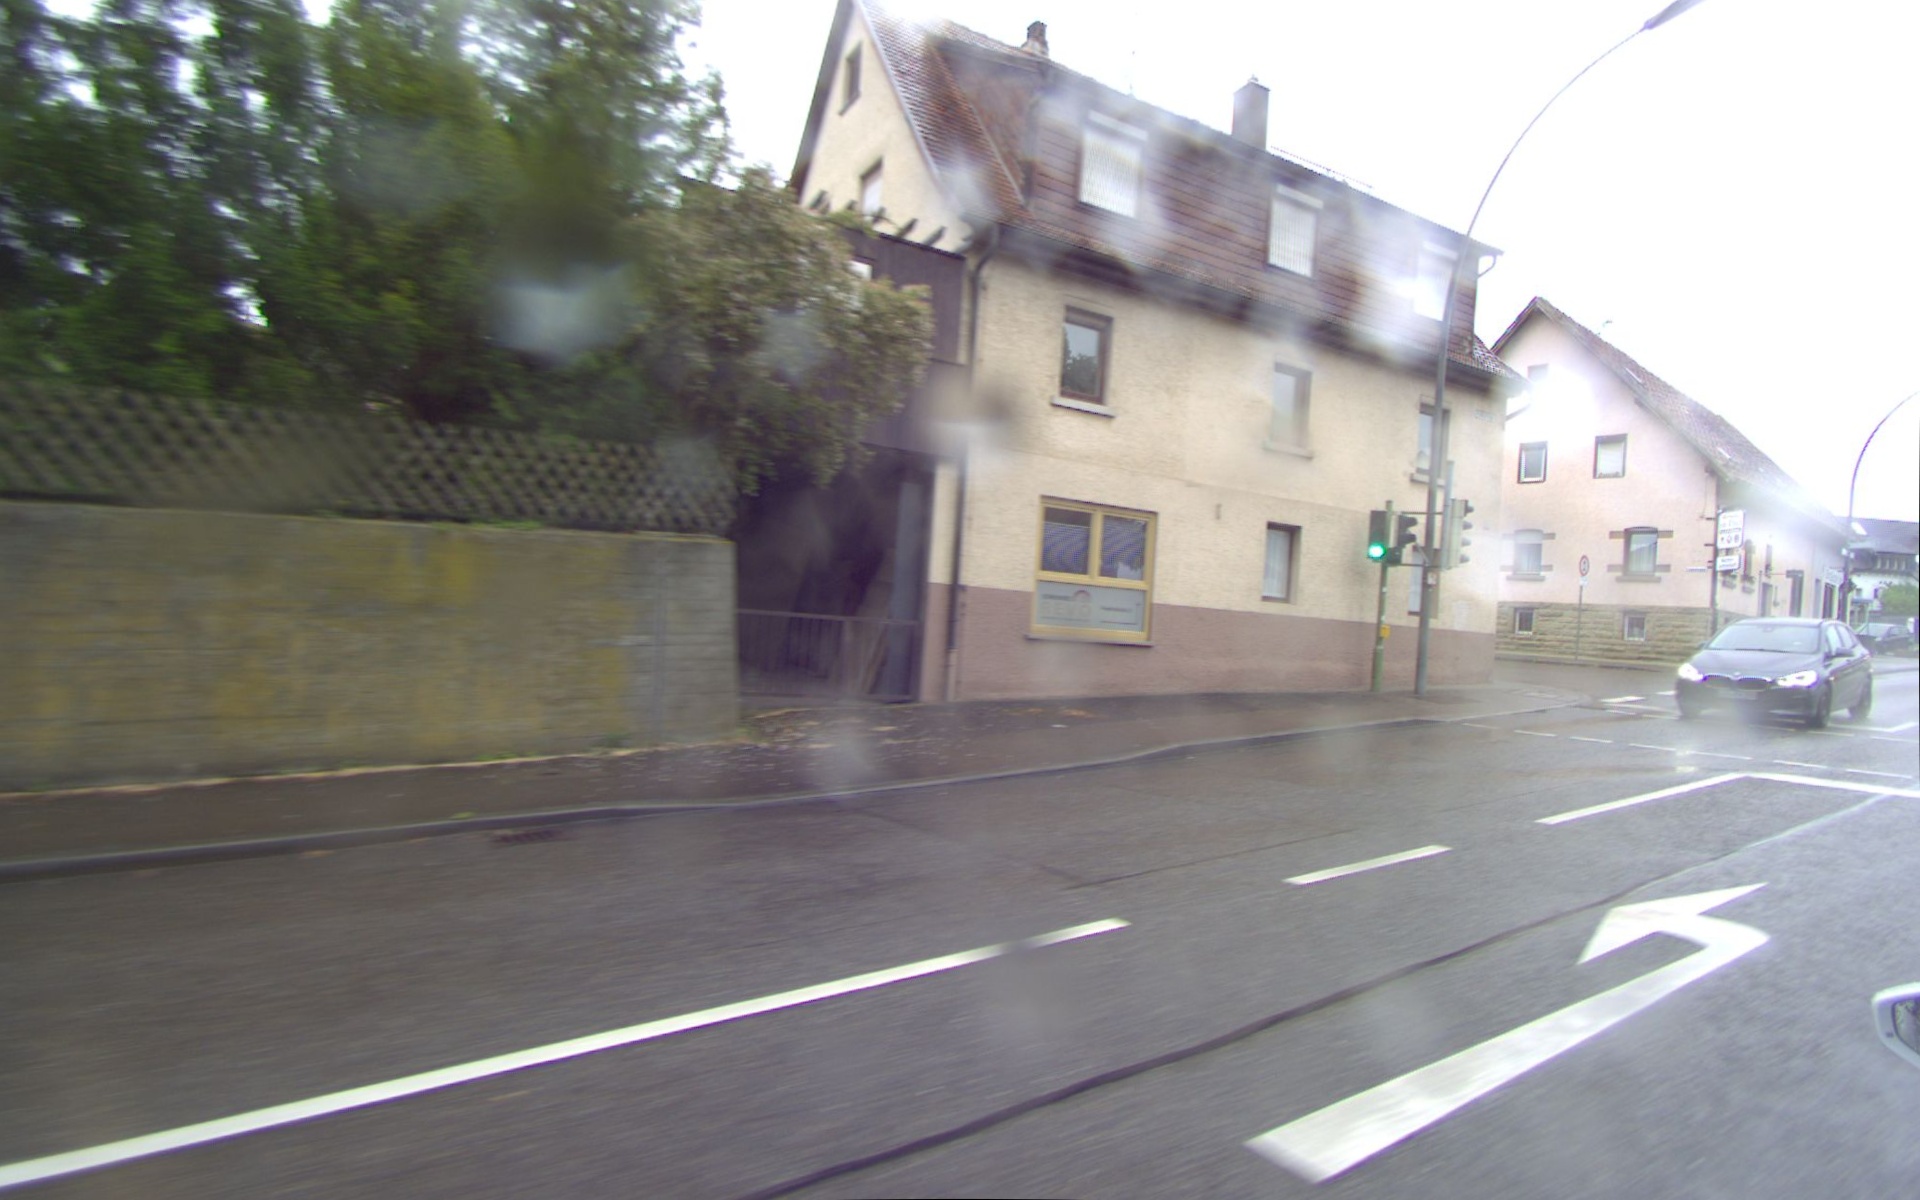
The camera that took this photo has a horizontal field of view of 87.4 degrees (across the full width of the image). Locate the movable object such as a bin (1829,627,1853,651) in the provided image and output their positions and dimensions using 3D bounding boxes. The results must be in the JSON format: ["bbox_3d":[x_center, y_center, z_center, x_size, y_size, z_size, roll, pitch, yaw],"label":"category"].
[{"bbox_3d":[40.386,1.786,46.034,0.597,1.046,0.636,2,-1,-26],"label":"movable object such as a bin"}]

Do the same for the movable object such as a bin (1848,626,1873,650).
[{"bbox_3d":[40.687,1.720,45.377,0.664,1.046,0.636,2,-1,-26],"label":"movable object such as a bin"}]

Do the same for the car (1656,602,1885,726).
[{"bbox_3d":[12.992,0.939,16.045,3.964,1.728,1.979,2,0,-38],"label":"car"}]

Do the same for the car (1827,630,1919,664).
[{"bbox_3d":[45.155,2.300,49.628,3.772,1.461,1.898,2,2,-21],"label":"car"}]
